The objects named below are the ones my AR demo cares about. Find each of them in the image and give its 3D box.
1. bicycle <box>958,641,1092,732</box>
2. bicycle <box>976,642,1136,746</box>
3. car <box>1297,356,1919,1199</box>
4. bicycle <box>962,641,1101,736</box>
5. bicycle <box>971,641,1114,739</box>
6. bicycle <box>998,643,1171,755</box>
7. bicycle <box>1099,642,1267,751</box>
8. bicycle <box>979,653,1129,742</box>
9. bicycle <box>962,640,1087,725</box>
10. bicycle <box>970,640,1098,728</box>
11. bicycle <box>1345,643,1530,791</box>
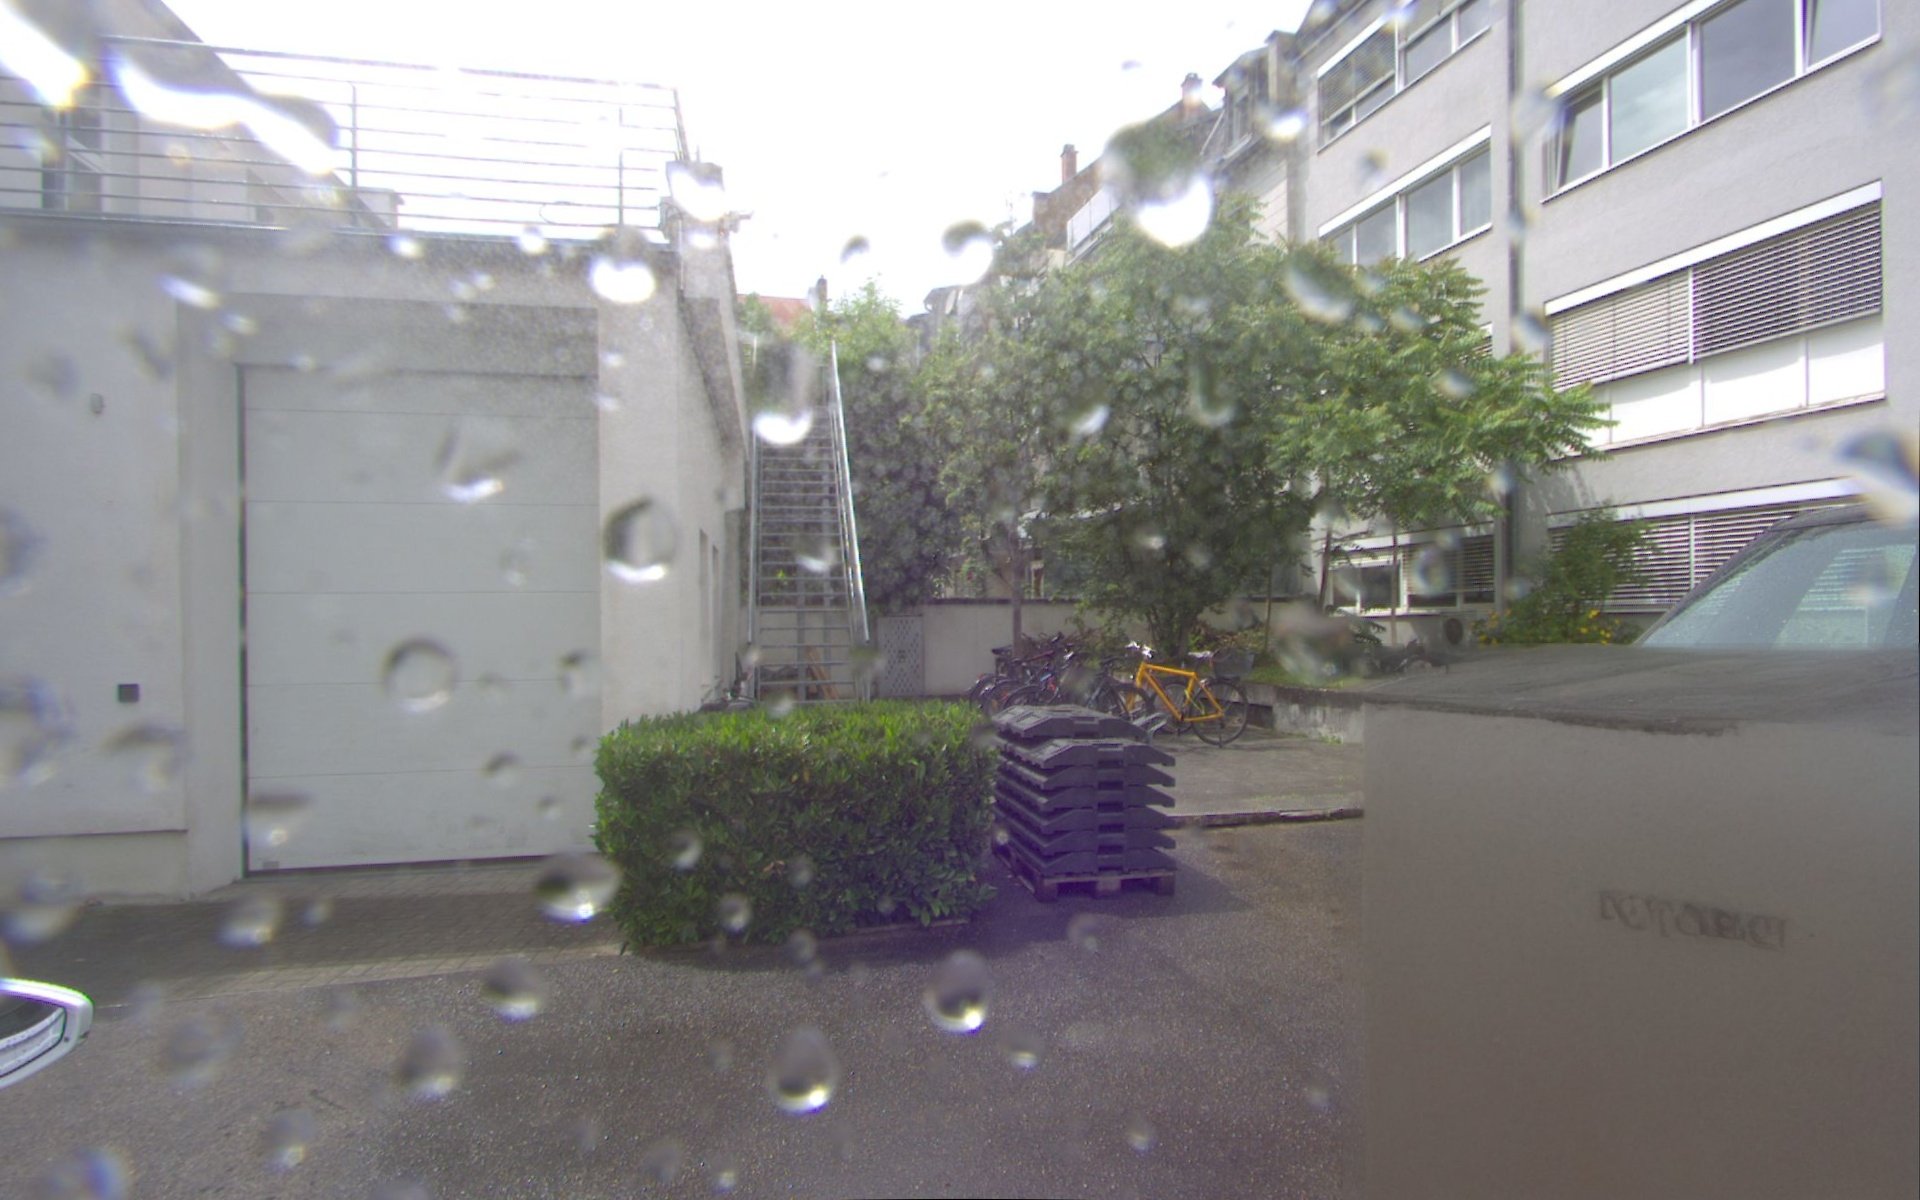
[{"bbox_3d":[0.848,1.103,12.975,1.724,1.118,0.345,0,0,-17],"label":"bicycle"},{"bbox_3d":[1.085,1.050,11.324,1.762,1.118,0.354,0,0,-9],"label":"bicycle"},{"bbox_3d":[3.414,0.583,2.391,4.664,1.889,1.967,-1,-1,-18],"label":"car"},{"bbox_3d":[0.894,1.089,12.488,1.724,1.118,0.342,0,0,-17],"label":"bicycle"},{"bbox_3d":[1.008,1.076,12.152,1.724,1.118,0.332,0,0,-17],"label":"bicycle"},{"bbox_3d":[1.309,1.024,10.546,1.762,1.118,0.405,0,0,-9],"label":"bicycle"},{"bbox_3d":[2.415,1.028,10.859,1.762,1.118,0.367,0,0,-9],"label":"bicycle"},{"bbox_3d":[1.117,1.134,11.827,1.765,0.980,0.329,0,0,-17],"label":"bicycle"},{"bbox_3d":[0.896,1.131,13.909,1.724,1.118,0.341,0,0,-17],"label":"bicycle"},{"bbox_3d":[1.006,1.119,13.560,1.724,1.118,0.354,0,0,-17],"label":"bicycle"},{"bbox_3d":[4.192,0.979,8.947,0.438,1.118,1.794,-3,0,-13],"label":"bicycle"}]
